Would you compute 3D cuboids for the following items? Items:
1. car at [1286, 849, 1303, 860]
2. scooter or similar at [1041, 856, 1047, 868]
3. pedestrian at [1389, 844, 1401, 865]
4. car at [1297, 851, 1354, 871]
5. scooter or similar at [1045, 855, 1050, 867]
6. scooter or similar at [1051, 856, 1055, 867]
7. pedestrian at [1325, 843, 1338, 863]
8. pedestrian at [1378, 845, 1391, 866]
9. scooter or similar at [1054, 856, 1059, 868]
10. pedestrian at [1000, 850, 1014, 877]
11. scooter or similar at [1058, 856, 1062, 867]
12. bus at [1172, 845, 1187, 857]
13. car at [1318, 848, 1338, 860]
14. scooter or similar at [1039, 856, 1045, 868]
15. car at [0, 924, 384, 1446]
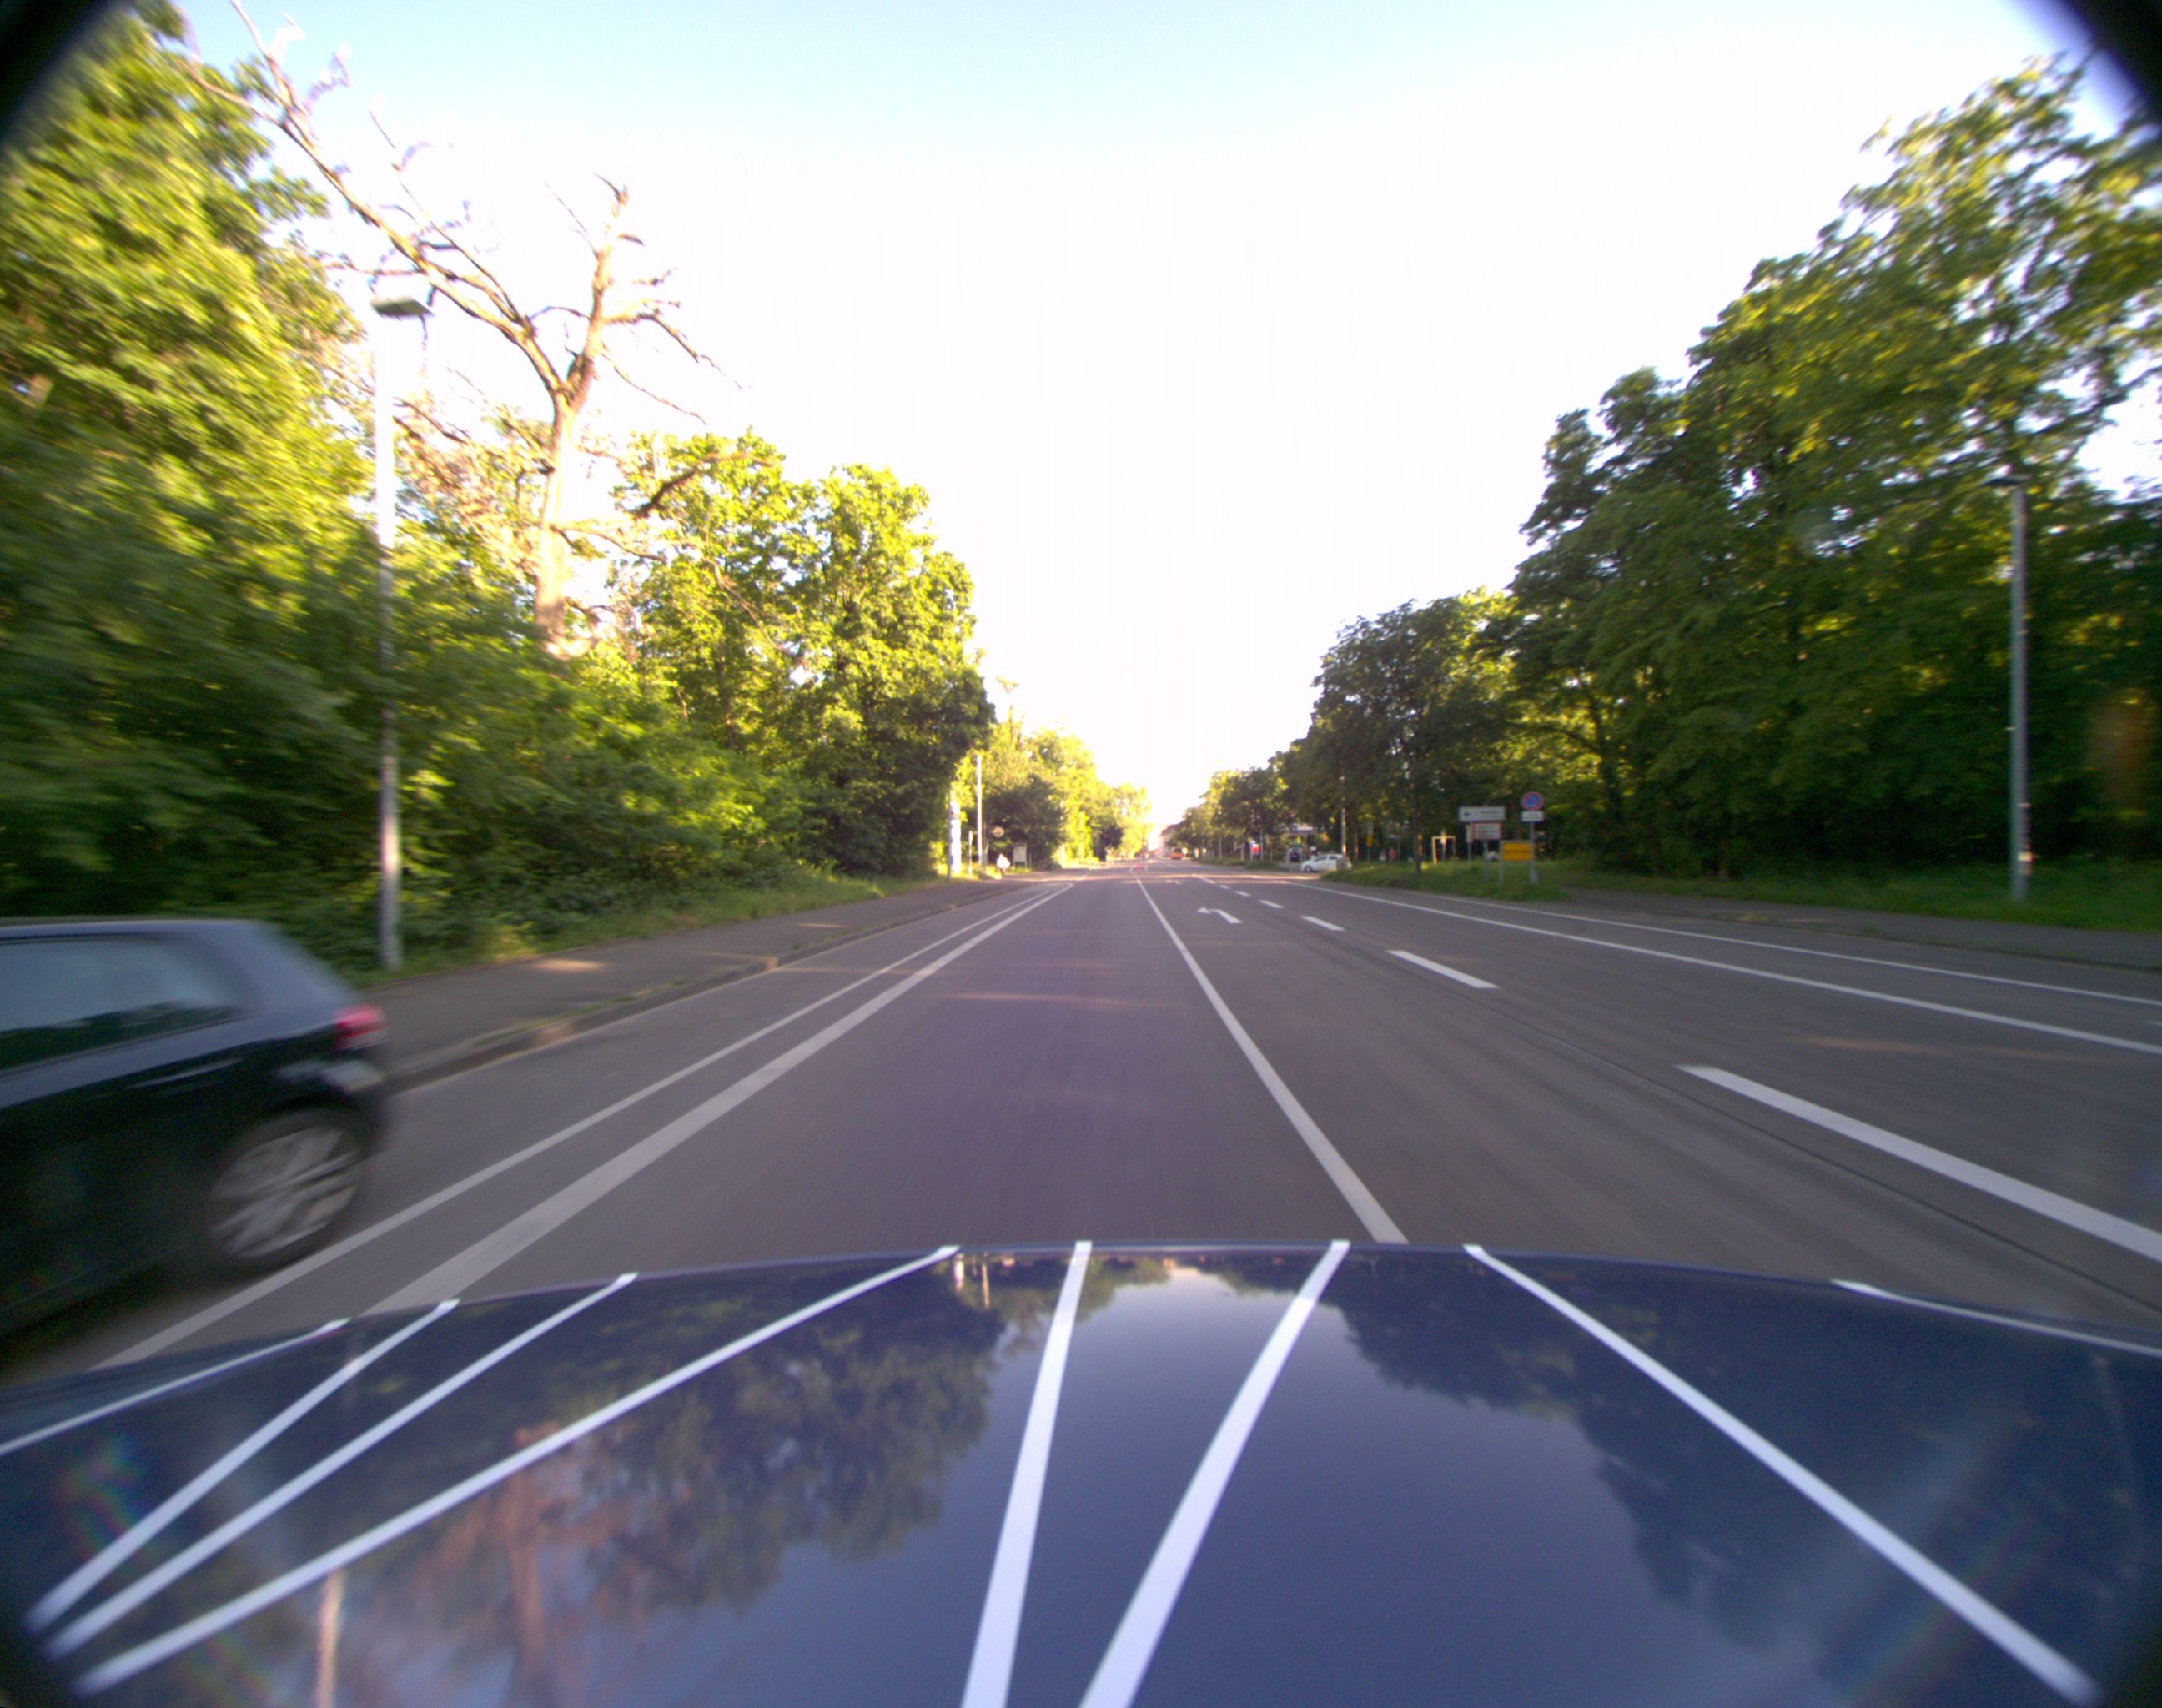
[{"bbox_3d":[30.440,0.071,108.285,1.758,1.631,3.614,-1,0,6],"label":"car"},{"bbox_3d":[-3.627,0.746,74.182,0.386,1.177,1.103,-1,1,4],"label":"scooter or similar"},{"bbox_3d":[26.727,0.024,64.599,0.832,1.809,0.738,0,1,34],"label":"pedestrian"},{"bbox_3d":[19.294,0.550,59.975,3.932,1.517,1.835,0,1,37],"label":"car"},{"bbox_3d":[-3.352,0.719,75.365,0.386,1.177,1.103,-1,1,4],"label":"scooter or similar"},{"bbox_3d":[-2.905,0.772,78.883,0.386,1.177,1.103,-1,1,4],"label":"scooter or similar"},{"bbox_3d":[22.674,-0.069,68.788,0.737,1.809,0.833,-1,1,-33],"label":"pedestrian"},{"bbox_3d":[26.193,0.136,65.586,0.832,1.809,0.738,0,1,34],"label":"pedestrian"},{"bbox_3d":[-2.515,0.775,77.291,0.386,1.177,1.103,-1,1,4],"label":"scooter or similar"},{"bbox_3d":[-4.980,0.624,50.935,0.809,1.789,0.734,-1,1,3],"label":"pedestrian"},{"bbox_3d":[-2.328,0.837,84.388,0.386,1.177,1.103,-1,1,4],"label":"scooter or similar"},{"bbox_3d":[28.131,-0.893,217.615,3.038,3.388,9.480,-1,0,-1],"label":"bus"},{"bbox_3d":[33.776,-0.022,103.950,1.758,1.631,3.839,-1,0,6],"label":"car"},{"bbox_3d":[-3.710,0.765,72.475,0.386,1.177,1.188,-1,1,4],"label":"scooter or similar"},{"bbox_3d":[-4.106,1.099,1.485,1.661,1.443,4.020,-3,0,1],"label":"car"}]
